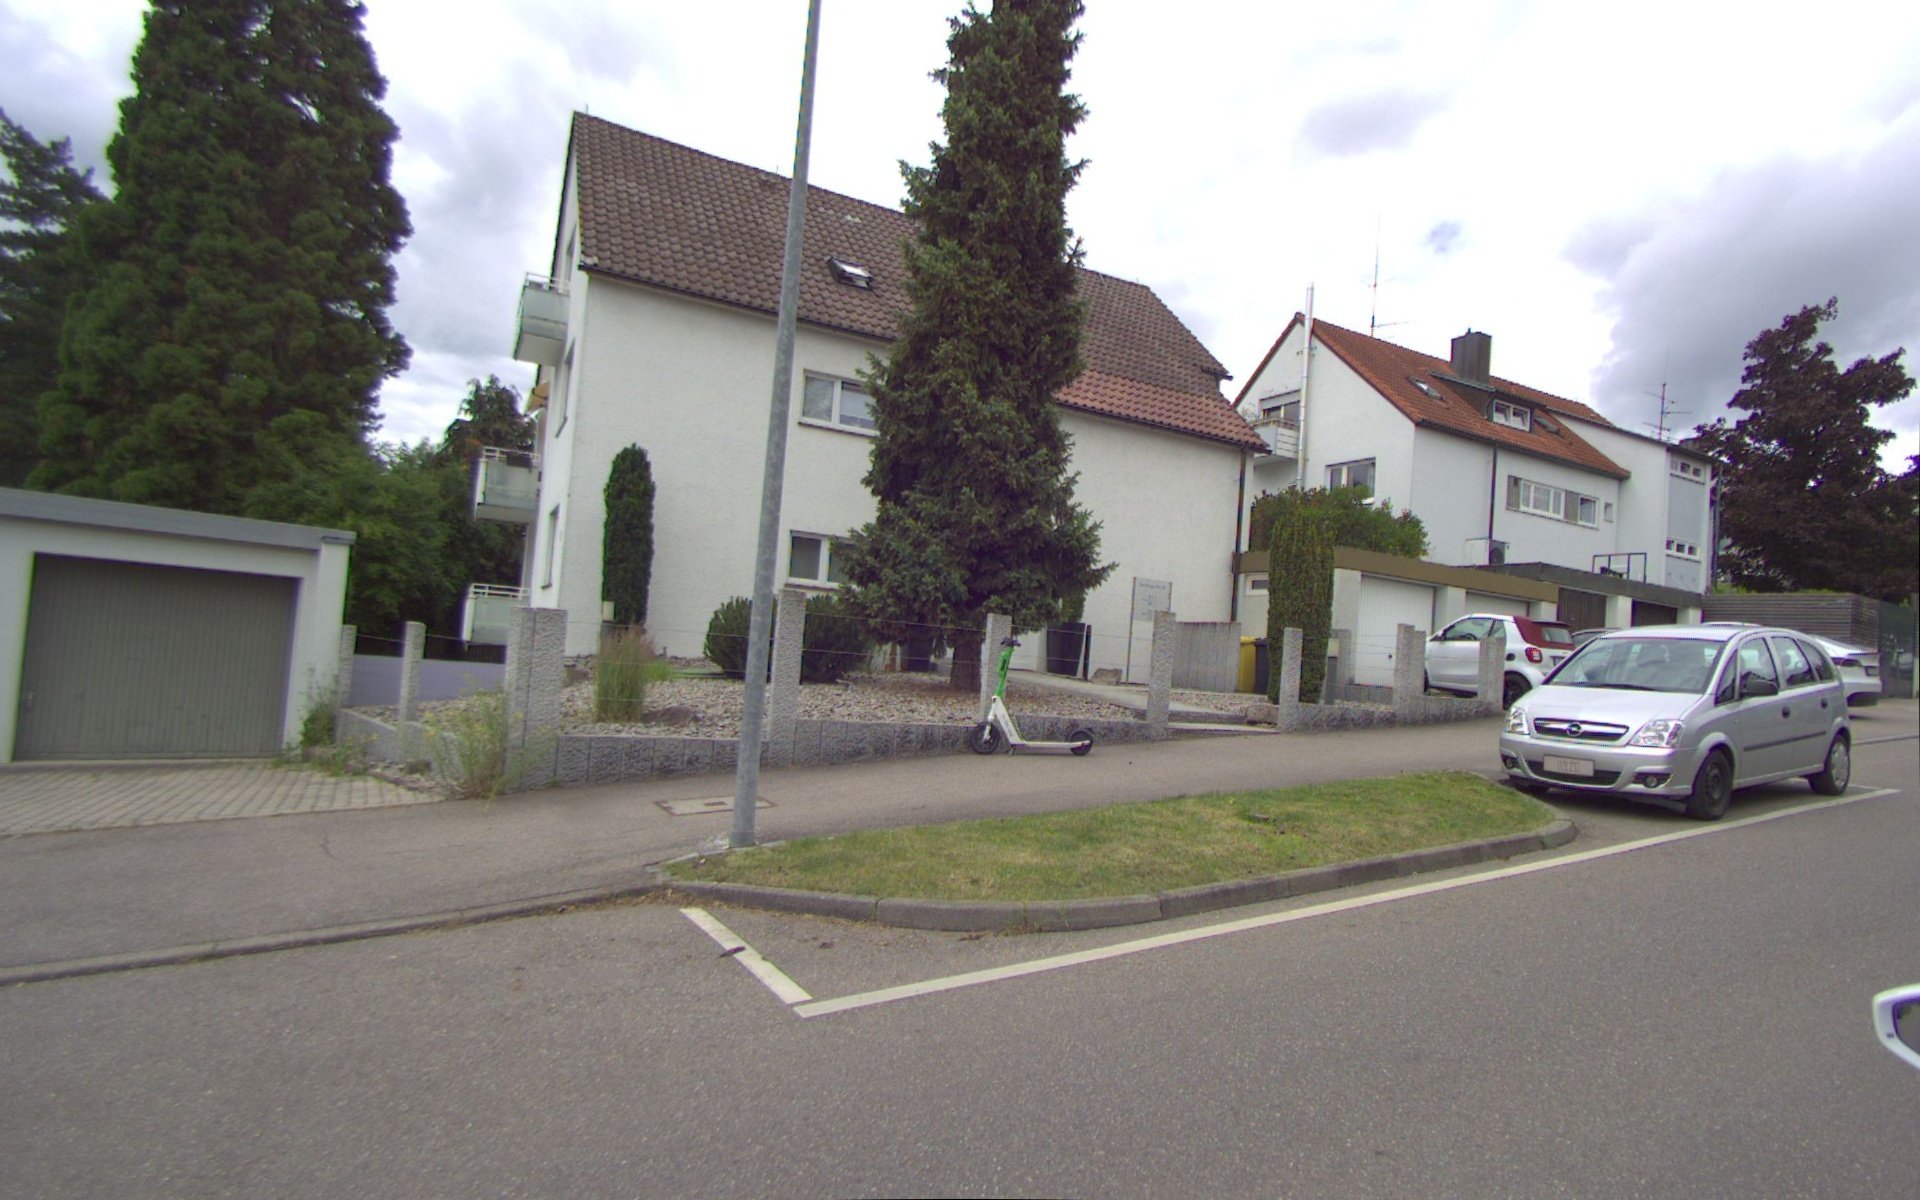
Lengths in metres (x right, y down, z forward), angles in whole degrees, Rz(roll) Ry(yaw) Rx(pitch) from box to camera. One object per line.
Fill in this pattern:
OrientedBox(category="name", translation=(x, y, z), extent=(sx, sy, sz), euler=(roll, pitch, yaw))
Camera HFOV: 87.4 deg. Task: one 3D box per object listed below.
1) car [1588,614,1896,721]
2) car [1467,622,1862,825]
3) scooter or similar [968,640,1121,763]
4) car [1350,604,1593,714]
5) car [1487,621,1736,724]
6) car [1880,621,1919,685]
OrientedBox(category="car", translation=(15.298, 1.233, 19.919), extent=(1.889, 1.650, 4.387), euler=(2, 1, -31))
OrientedBox(category="car", translation=(6.788, 1.039, 9.608), extent=(3.812, 1.583, 1.751), euler=(2, -2, -32))
OrientedBox(category="scooter or similar", translation=(0.848, 1.012, 10.103), extent=(1.430, 1.164, 0.474), euler=(2, 1, -16))
OrientedBox(category="car", translation=(8.807, 0.967, 17.555), extent=(1.637, 1.599, 3.413), euler=(3, 0, -29))
OrientedBox(category="car", translation=(11.801, 1.268, 18.400), extent=(1.672, 1.532, 3.413), euler=(3, 0, -29))
OrientedBox(category="car", translation=(31.375, 1.694, 30.927), extent=(1.972, 1.975, 4.064), euler=(3, -2, -23))
